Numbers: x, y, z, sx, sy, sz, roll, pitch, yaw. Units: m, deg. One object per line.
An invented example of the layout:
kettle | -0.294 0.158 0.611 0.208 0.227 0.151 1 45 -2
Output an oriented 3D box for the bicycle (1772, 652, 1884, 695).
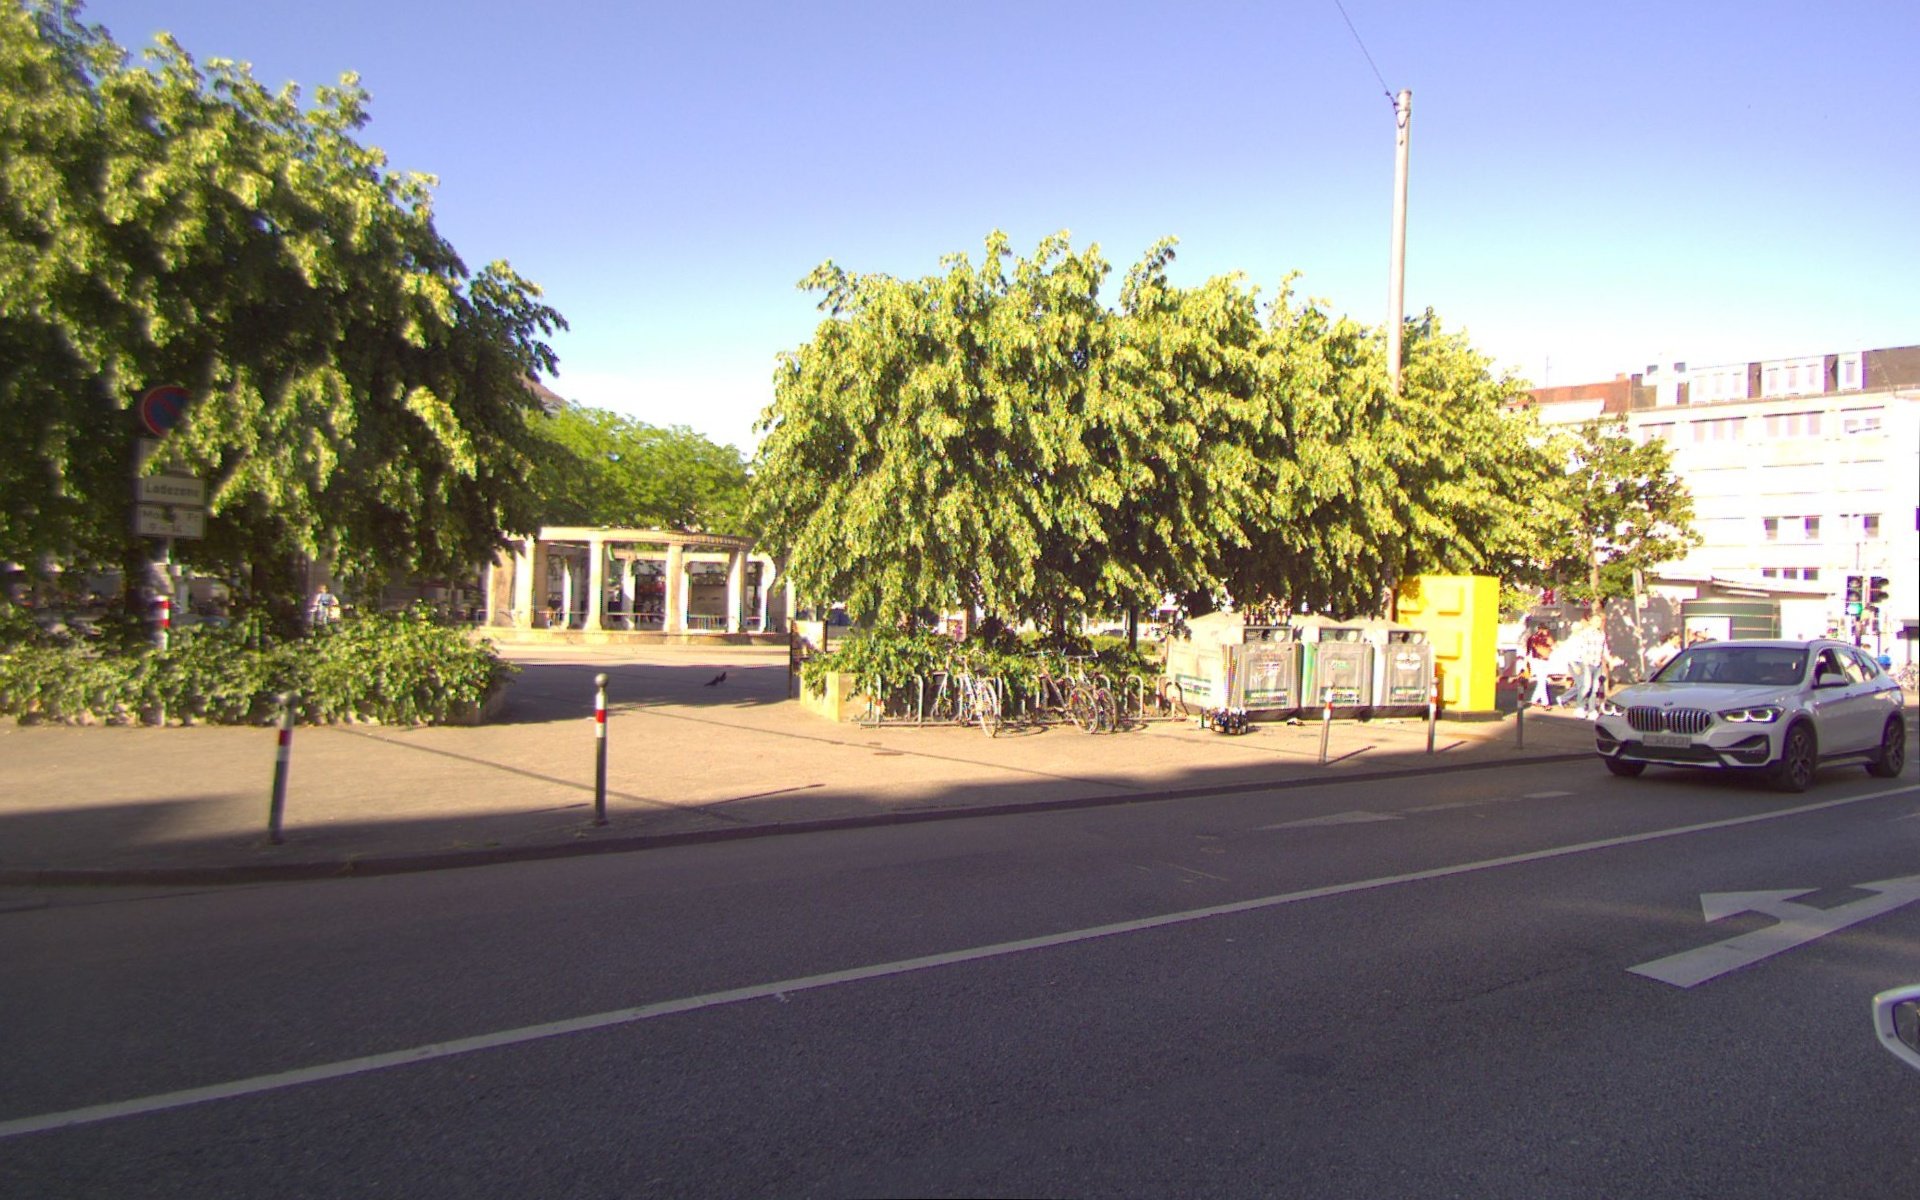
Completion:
bicycle | 27.026 2.260 31.331 0.833 1.171 2.493 2 -1 -31

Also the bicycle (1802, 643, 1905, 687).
bicycle | 30.440 2.189 34.259 0.913 1.341 2.461 2 -1 -35

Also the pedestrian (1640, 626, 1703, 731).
pedestrian | 12.267 1.344 17.330 0.661 1.751 0.549 2 -1 3

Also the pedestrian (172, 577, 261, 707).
pedestrian | -10.543 0.588 14.275 0.726 1.781 0.895 2 0 -19

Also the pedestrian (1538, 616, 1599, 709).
pedestrian | 12.555 1.271 20.747 0.727 1.851 0.846 2 -1 4

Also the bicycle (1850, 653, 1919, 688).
bicycle | 34.627 2.614 37.254 0.834 1.171 2.308 2 -1 -35

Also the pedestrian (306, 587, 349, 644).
pedestrian | -20.056 0.496 31.857 0.723 1.781 0.898 1 0 29

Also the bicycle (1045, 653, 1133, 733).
bicycle | 1.787 1.282 14.113 0.425 0.971 1.517 1 0 -28

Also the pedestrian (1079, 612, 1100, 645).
pedestrian | 8.226 1.814 63.787 0.804 2.040 1.047 2 0 -31

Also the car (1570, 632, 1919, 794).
car | 9.204 1.224 11.705 4.261 1.575 1.798 2 -4 -31

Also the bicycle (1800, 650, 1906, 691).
bicycle | 29.081 2.268 32.767 0.833 1.171 2.449 2 -1 -31

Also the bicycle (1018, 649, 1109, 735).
bicycle | 1.392 1.236 13.808 0.425 1.036 1.561 2 0 -28

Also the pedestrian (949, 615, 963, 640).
pedestrian | -0.373 2.319 85.008 0.886 2.041 1.285 0 2 13

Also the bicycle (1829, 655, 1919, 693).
bicycle | 32.705 2.602 35.772 0.834 1.171 2.517 2 -1 -34

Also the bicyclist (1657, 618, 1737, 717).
bicyclist | 14.507 1.310 19.795 0.773 1.862 0.952 2 0 -5

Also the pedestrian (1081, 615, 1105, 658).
pedestrian | 6.514 1.771 49.247 0.913 2.040 1.185 2 0 -1

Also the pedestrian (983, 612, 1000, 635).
pedestrian | 2.887 2.127 92.150 1.250 2.040 1.286 2 0 10

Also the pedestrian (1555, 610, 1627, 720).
pedestrian | 11.770 1.196 18.747 0.699 1.981 0.828 2 1 -18

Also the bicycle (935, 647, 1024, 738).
bicycle | 0.225 1.188 13.222 0.425 1.031 1.590 2 0 -28

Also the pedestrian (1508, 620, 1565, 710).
pedestrian | 11.847 1.311 20.661 0.640 1.792 0.897 2 -1 1

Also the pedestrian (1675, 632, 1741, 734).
pedestrian | 12.829 1.404 17.238 0.608 1.684 0.685 2 -1 6
